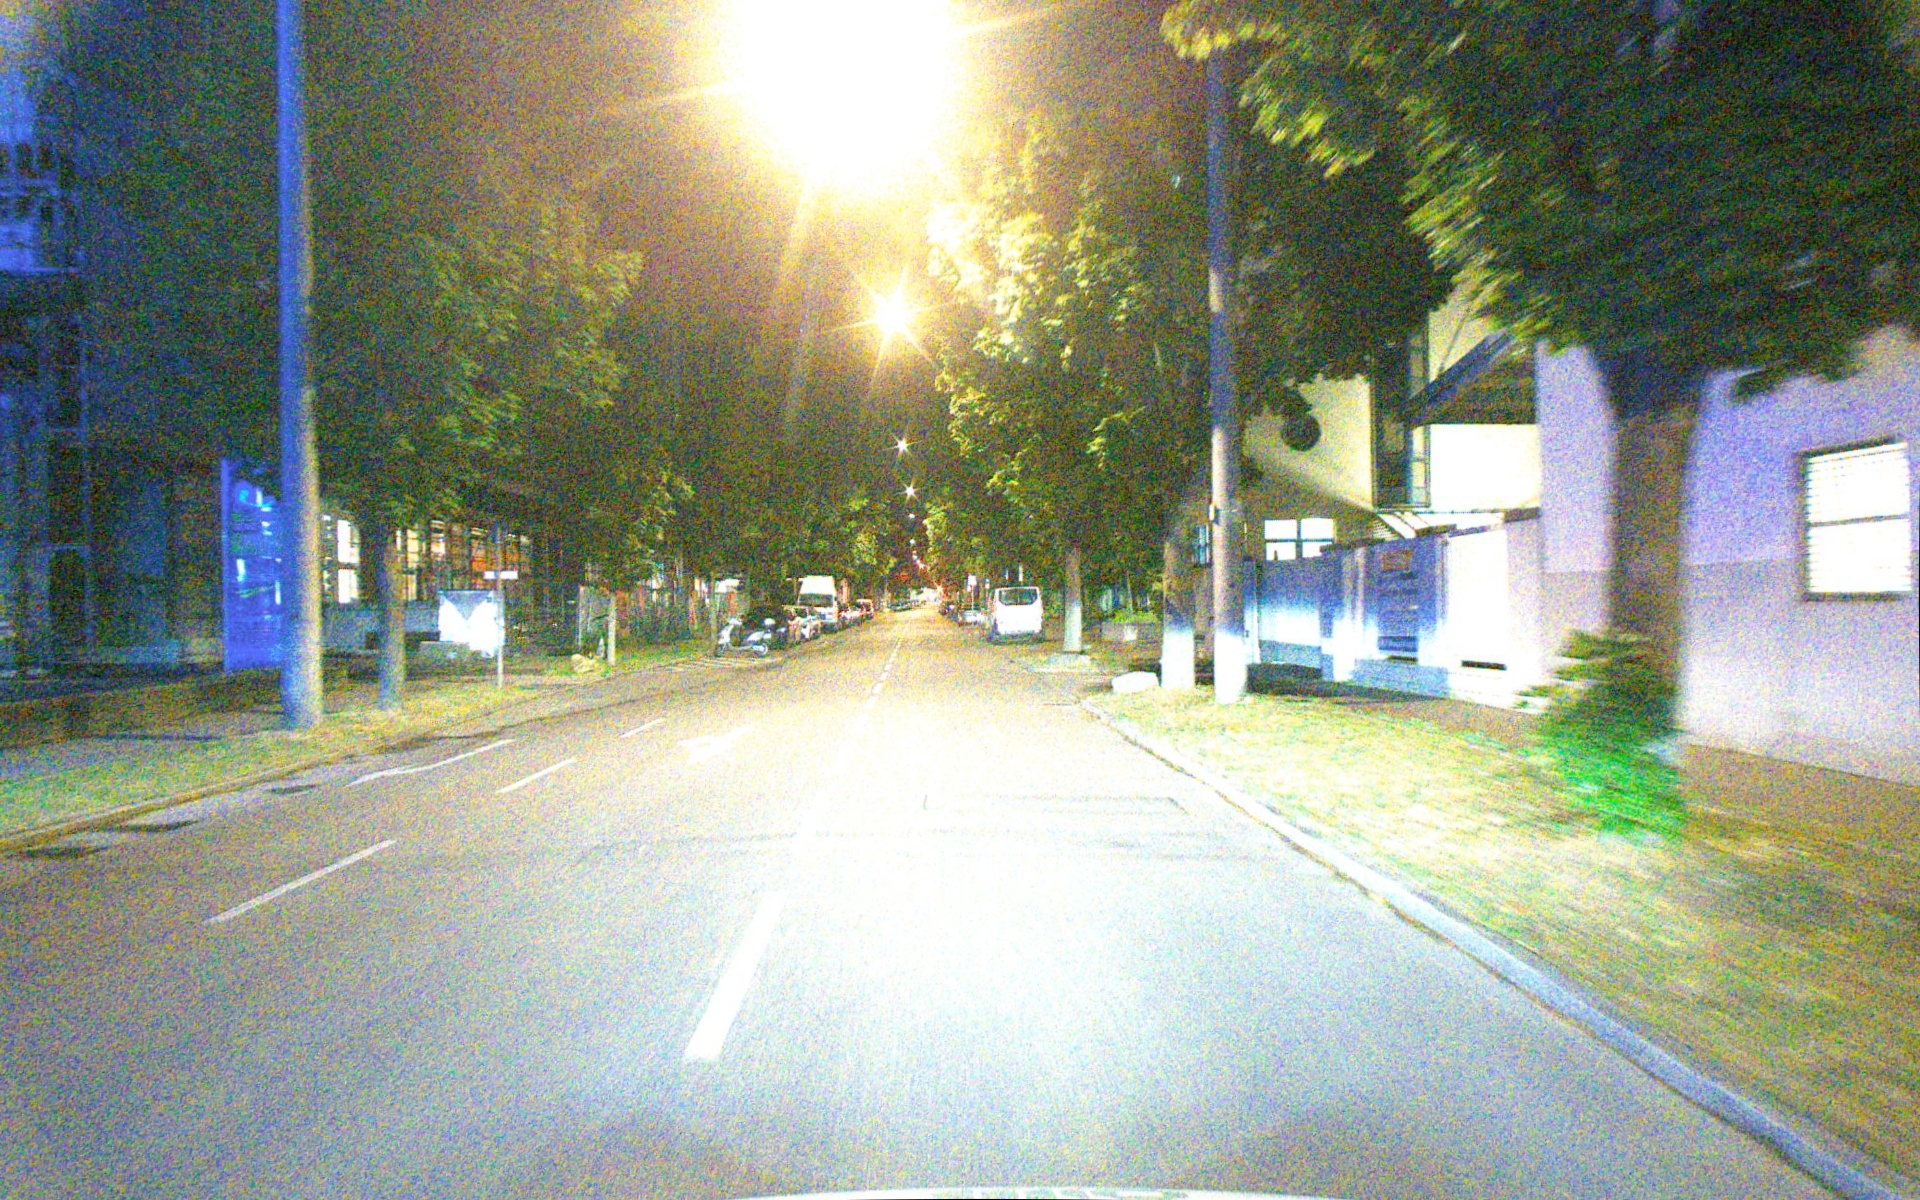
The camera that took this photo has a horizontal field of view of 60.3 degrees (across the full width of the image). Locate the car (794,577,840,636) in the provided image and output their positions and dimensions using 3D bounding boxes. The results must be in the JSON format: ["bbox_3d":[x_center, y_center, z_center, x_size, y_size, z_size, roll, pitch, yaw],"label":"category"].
[{"bbox_3d":[-7.406,0.336,86.127,2.135,2.960,4.908,-1,0,-2],"label":"car"}]

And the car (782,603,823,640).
[{"bbox_3d":[-7.010,0.941,73.893,1.612,1.531,3.859,1,0,-3],"label":"car"}]

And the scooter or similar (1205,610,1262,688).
[{"bbox_3d":[4.536,0.817,27.487,0.536,1.224,1.910,-2,-2,-1],"label":"scooter or similar"}]

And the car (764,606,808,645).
[{"bbox_3d":[-6.767,0.975,64.551,1.415,1.454,3.902,0,0,-2],"label":"car"}]

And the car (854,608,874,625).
[{"bbox_3d":[-8.871,1.510,152.870,1.665,1.458,3.828,1,0,0],"label":"car"}]

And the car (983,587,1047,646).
[{"bbox_3d":[1.965,0.579,60.370,1.912,1.998,4.601,-2,0,-3],"label":"car"}]

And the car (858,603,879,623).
[{"bbox_3d":[-8.803,1.278,159.924,1.785,1.843,4.210,1,0,0],"label":"car"}]

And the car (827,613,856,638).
[{"bbox_3d":[-7.704,1.655,107.819,1.682,1.528,4.204,0,0,-2],"label":"car"}]

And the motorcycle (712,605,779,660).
[{"bbox_3d":[-6.347,0.955,48.867,1.875,1.577,0.635,0,0,-21],"label":"motorcycle"}]

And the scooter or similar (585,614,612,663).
[{"bbox_3d":[-9.441,0.997,43.223,0.359,1.225,1.427,-2,0,-1],"label":"scooter or similar"}]

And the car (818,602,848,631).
[{"bbox_3d":[-7.461,0.957,97.357,1.707,1.634,4.295,0,0,-3],"label":"car"}]

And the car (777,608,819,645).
[{"bbox_3d":[-6.760,1.089,69.223,1.516,1.481,3.367,0,0,-2],"label":"car"}]

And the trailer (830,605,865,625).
[{"bbox_3d":[-7.843,1.028,115.753,2.067,1.358,5.434,0,0,0],"label":"trailer"}]

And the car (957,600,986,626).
[{"bbox_3d":[0.733,0.791,102.557,1.634,1.453,4.148,-4,0,1],"label":"car"}]

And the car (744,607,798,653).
[{"bbox_3d":[-6.656,1.045,58.533,1.609,1.531,3.902,0,0,-2],"label":"car"}]

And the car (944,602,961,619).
[{"bbox_3d":[-0.803,1.085,173.264,1.815,1.683,4.208,0,0,-1],"label":"car"}]
